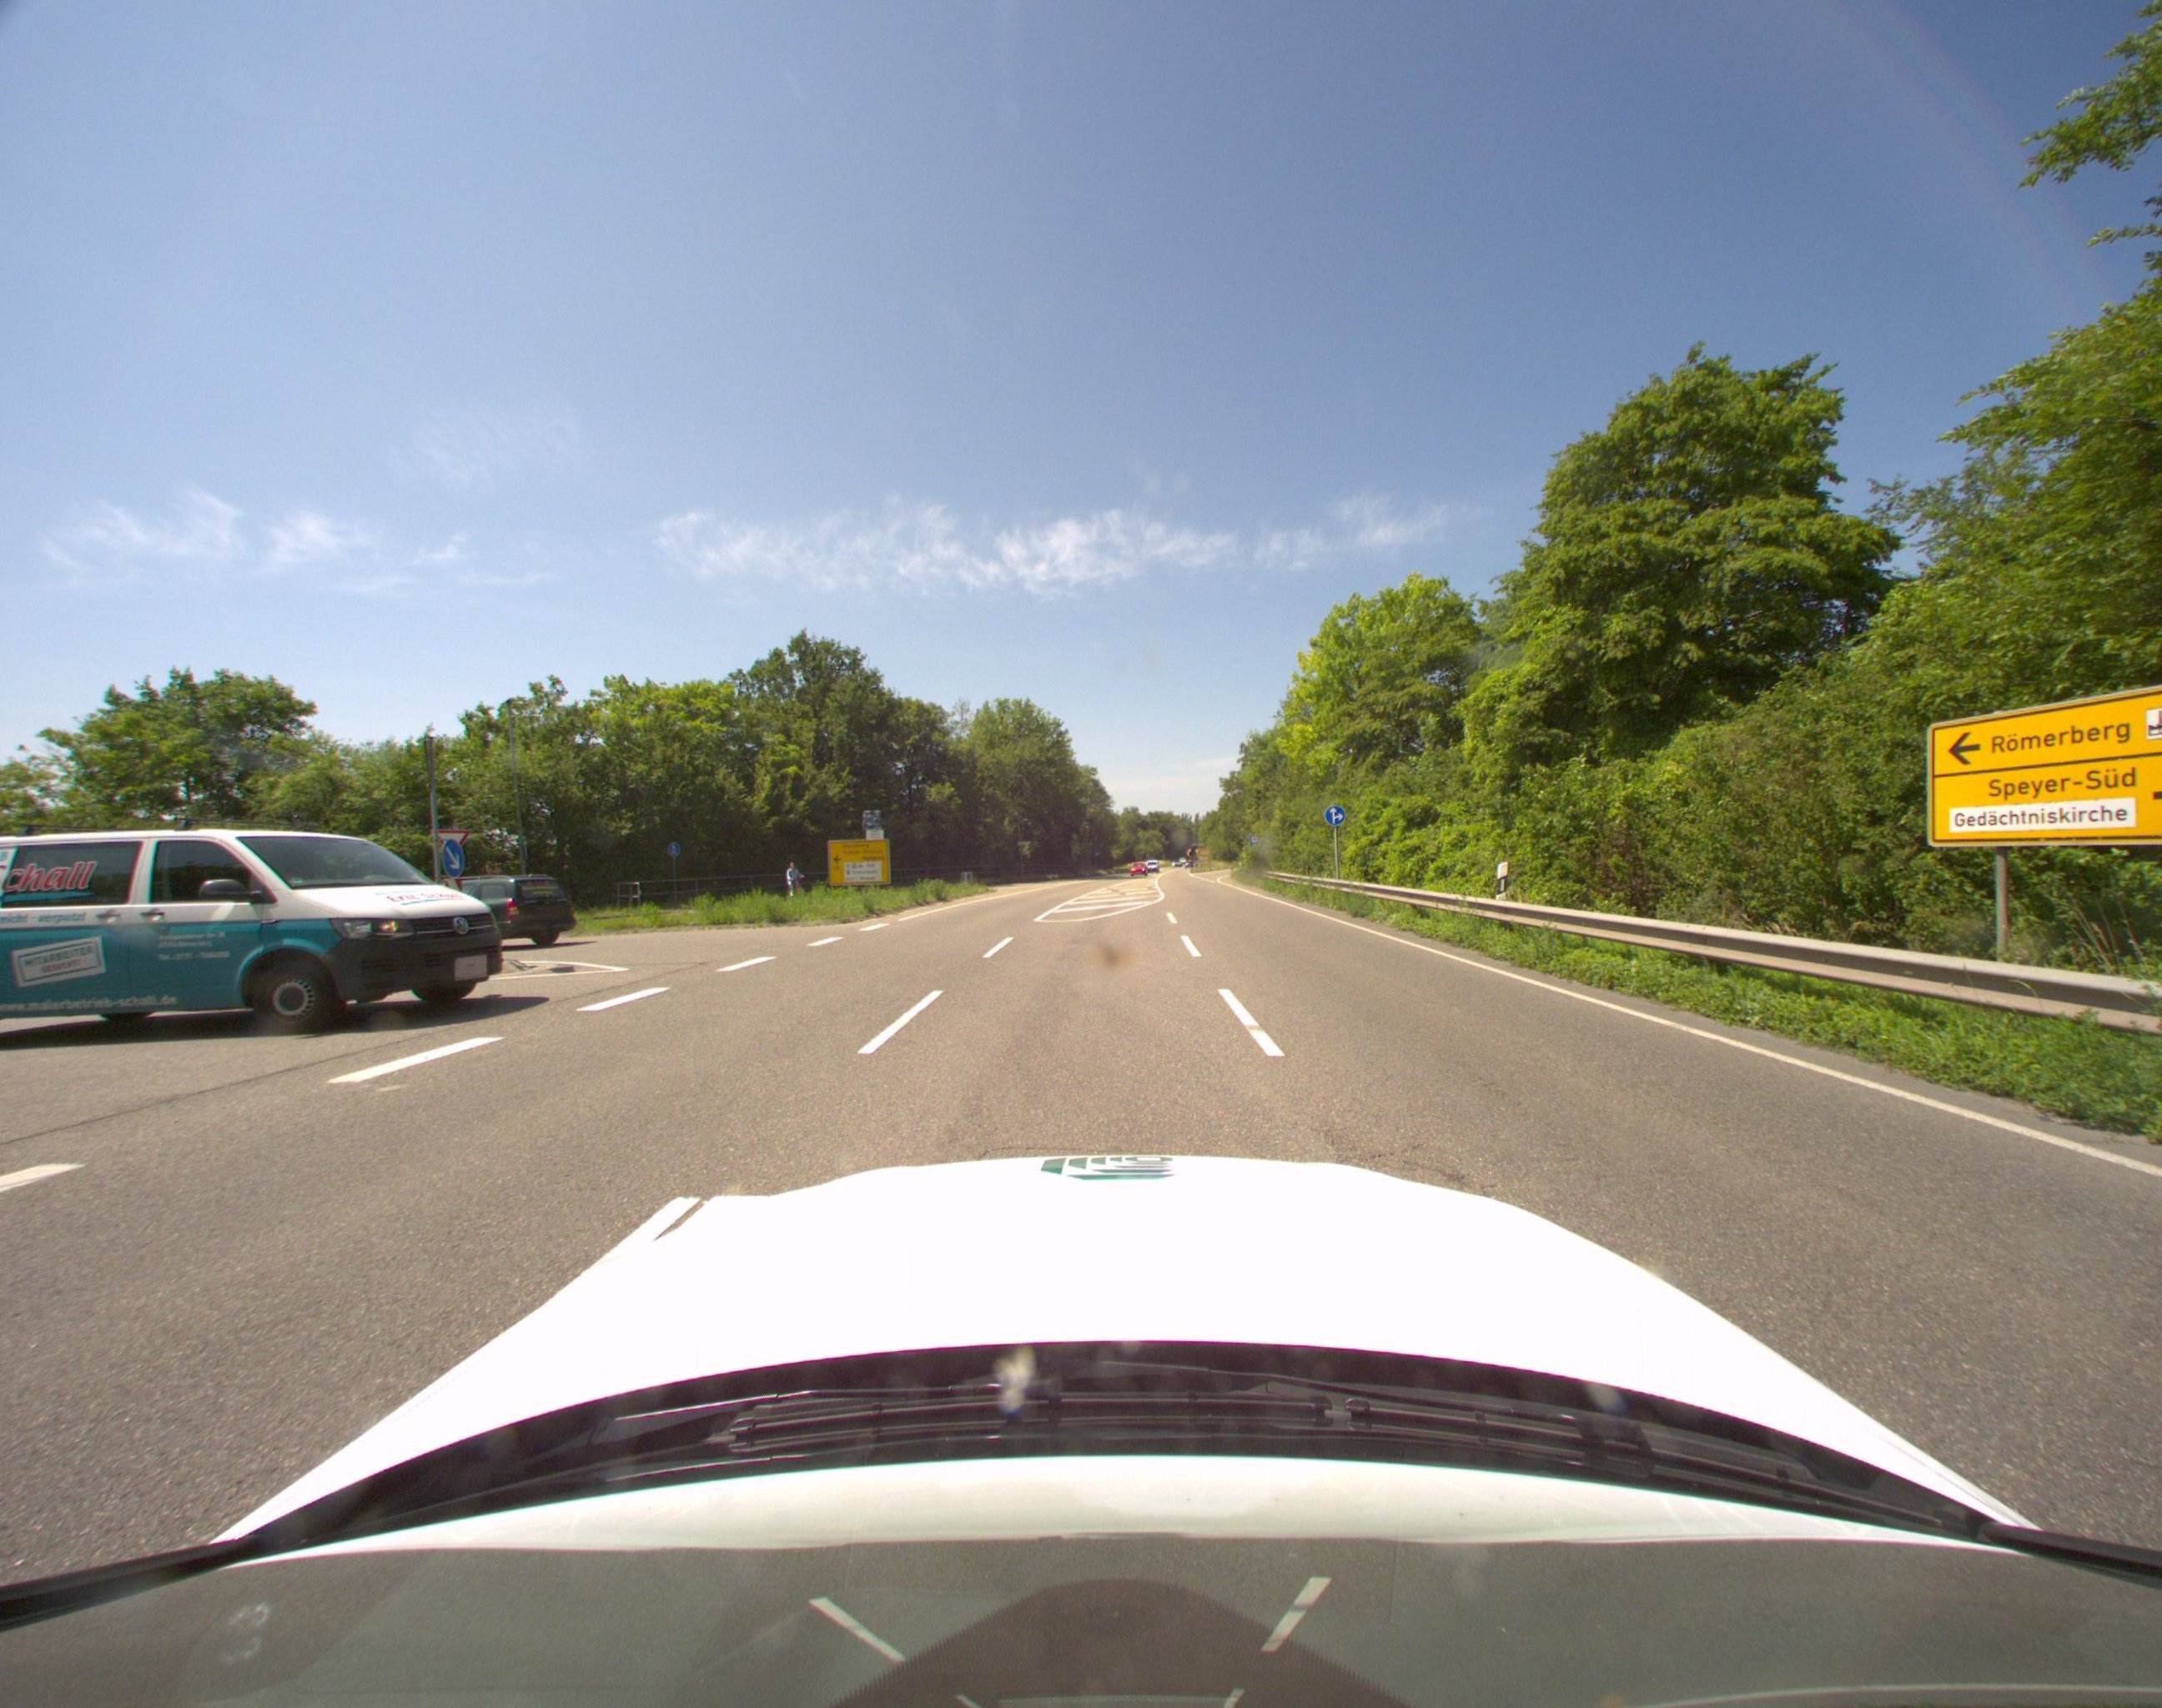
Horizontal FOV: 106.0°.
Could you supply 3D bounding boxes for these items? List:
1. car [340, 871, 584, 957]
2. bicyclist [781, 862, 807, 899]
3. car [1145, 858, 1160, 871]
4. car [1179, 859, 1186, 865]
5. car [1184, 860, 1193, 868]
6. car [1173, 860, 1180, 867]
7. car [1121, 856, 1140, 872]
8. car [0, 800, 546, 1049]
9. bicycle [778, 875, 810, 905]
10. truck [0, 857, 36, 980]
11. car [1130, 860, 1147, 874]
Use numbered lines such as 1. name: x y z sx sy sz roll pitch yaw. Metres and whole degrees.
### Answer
1. car: -12.523 1.188 16.601 3.764 1.457 1.729 -3 0 7
2. bicyclist: -10.809 1.007 30.715 0.601 1.363 0.694 -2 -1 38
3. car: 10.526 1.523 119.903 1.984 1.730 4.281 -2 0 6
4. car: 28.907 2.286 231.784 1.710 1.528 3.718 -2 0 9
5. car: 22.863 2.102 174.008 1.834 1.684 4.008 -1 0 7
6. car: 22.053 2.105 188.292 1.668 1.527 4.008 -2 0 7
7. car: 10.788 2.170 177.983 2.004 3.226 4.767 -2 0 -26
8. car: -8.736 0.668 8.257 5.155 2.027 2.000 -3 0 -1
9. bicycle: -10.867 1.347 30.816 1.463 1.113 0.439 -2 -1 38
10. truck: -25.850 1.552 16.278 6.603 2.565 2.143 -4 -1 -4
11. car: 6.250 1.413 88.763 1.802 1.458 3.761 -1 0 4
